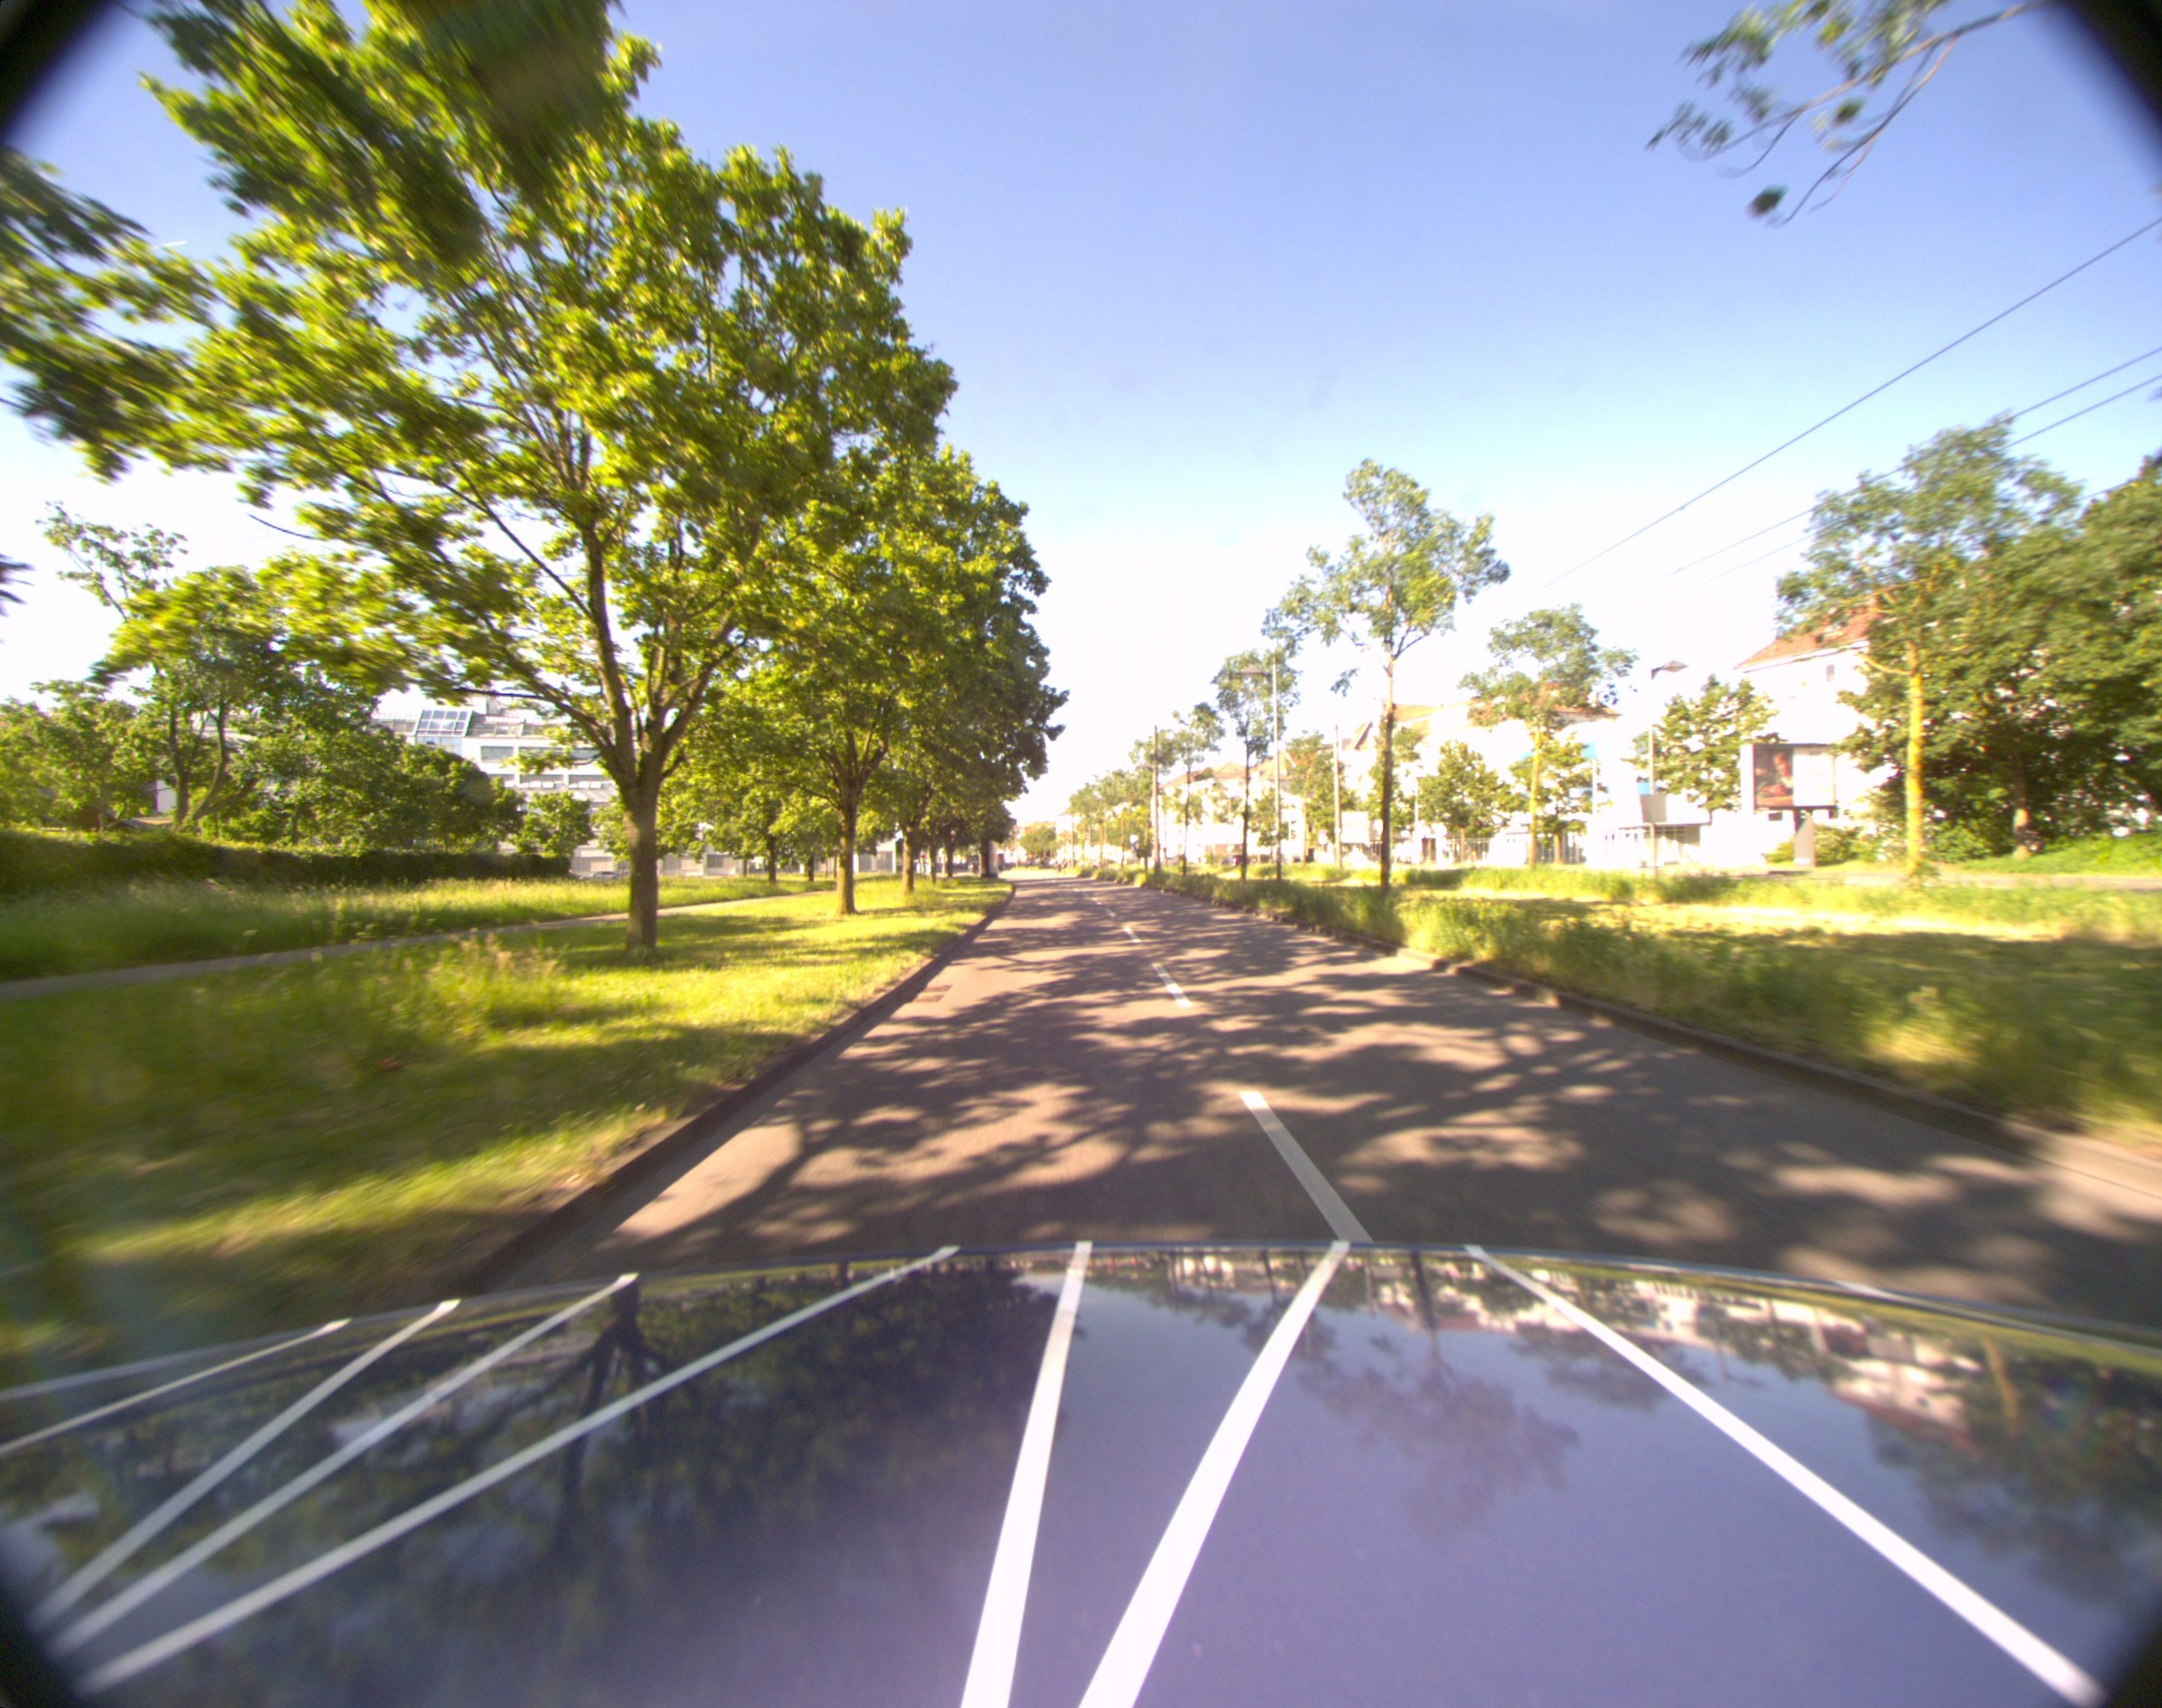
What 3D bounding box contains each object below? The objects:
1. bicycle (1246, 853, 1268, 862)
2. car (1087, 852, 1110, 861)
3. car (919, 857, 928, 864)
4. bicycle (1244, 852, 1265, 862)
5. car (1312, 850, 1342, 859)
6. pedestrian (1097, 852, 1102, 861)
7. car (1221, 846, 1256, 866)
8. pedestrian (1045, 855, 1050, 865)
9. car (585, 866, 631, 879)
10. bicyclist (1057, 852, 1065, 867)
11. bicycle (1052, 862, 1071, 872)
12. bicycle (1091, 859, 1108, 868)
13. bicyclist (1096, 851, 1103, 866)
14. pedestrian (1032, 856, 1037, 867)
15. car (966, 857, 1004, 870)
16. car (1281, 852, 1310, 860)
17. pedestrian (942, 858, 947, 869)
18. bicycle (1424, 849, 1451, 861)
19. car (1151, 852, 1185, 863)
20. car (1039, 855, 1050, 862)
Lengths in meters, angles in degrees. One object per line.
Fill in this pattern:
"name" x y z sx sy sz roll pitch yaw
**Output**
"bicycle" 22.244 0.434 96.069 2.581 1.152 0.783 -1 0 -12
"car" 3.528 0.536 152.640 4.233 1.700 1.696 -1 0 15
"car" -37.938 1.610 183.390 1.695 1.700 4.235 -1 0 -17
"bicycle" 22.117 0.371 97.020 2.581 1.302 0.662 -1 0 -12
"car" 37.792 0.137 116.616 4.092 1.302 1.700 -1 0 -18
"pedestrian" 3.670 0.514 151.749 0.787 1.701 0.703 -1 0 -17
"car" 15.536 0.223 75.343 1.825 1.630 4.487 -1 -3 -10
"pedestrian" -5.459 0.964 124.022 0.733 1.687 0.734 -1 0 -10
"car" -56.240 2.207 90.403 4.291 1.412 1.916 -1 0 -20
"bicyclist" -2.080 0.593 79.568 0.715 1.591 0.849 -1 0 -10
"bicycle" -2.024 1.347 79.579 1.829 0.958 0.855 -1 0 -10
"bicycle" 2.035 1.022 83.584 1.828 0.958 0.816 -1 0 -3
"bicyclist" 2.011 0.498 83.579 0.715 1.681 0.816 -1 0 -3
"pedestrian" -7.367 1.170 120.957 0.641 1.687 0.607 -1 0 -15
"car" -12.424 1.197 98.571 4.634 1.613 1.997 -1 1 -15
"car" 33.597 0.315 118.963 4.092 1.302 1.700 -1 0 -18
"pedestrian" -20.851 1.412 115.898 0.733 1.687 0.734 -1 0 -10
"bicycle" 36.362 0.091 77.528 2.553 1.205 0.719 -1 0 -11
"car" 12.312 0.491 107.520 4.192 1.457 2.331 -1 0 -18
"car" -9.915 1.247 204.791 1.835 1.700 4.235 -1 0 -17
